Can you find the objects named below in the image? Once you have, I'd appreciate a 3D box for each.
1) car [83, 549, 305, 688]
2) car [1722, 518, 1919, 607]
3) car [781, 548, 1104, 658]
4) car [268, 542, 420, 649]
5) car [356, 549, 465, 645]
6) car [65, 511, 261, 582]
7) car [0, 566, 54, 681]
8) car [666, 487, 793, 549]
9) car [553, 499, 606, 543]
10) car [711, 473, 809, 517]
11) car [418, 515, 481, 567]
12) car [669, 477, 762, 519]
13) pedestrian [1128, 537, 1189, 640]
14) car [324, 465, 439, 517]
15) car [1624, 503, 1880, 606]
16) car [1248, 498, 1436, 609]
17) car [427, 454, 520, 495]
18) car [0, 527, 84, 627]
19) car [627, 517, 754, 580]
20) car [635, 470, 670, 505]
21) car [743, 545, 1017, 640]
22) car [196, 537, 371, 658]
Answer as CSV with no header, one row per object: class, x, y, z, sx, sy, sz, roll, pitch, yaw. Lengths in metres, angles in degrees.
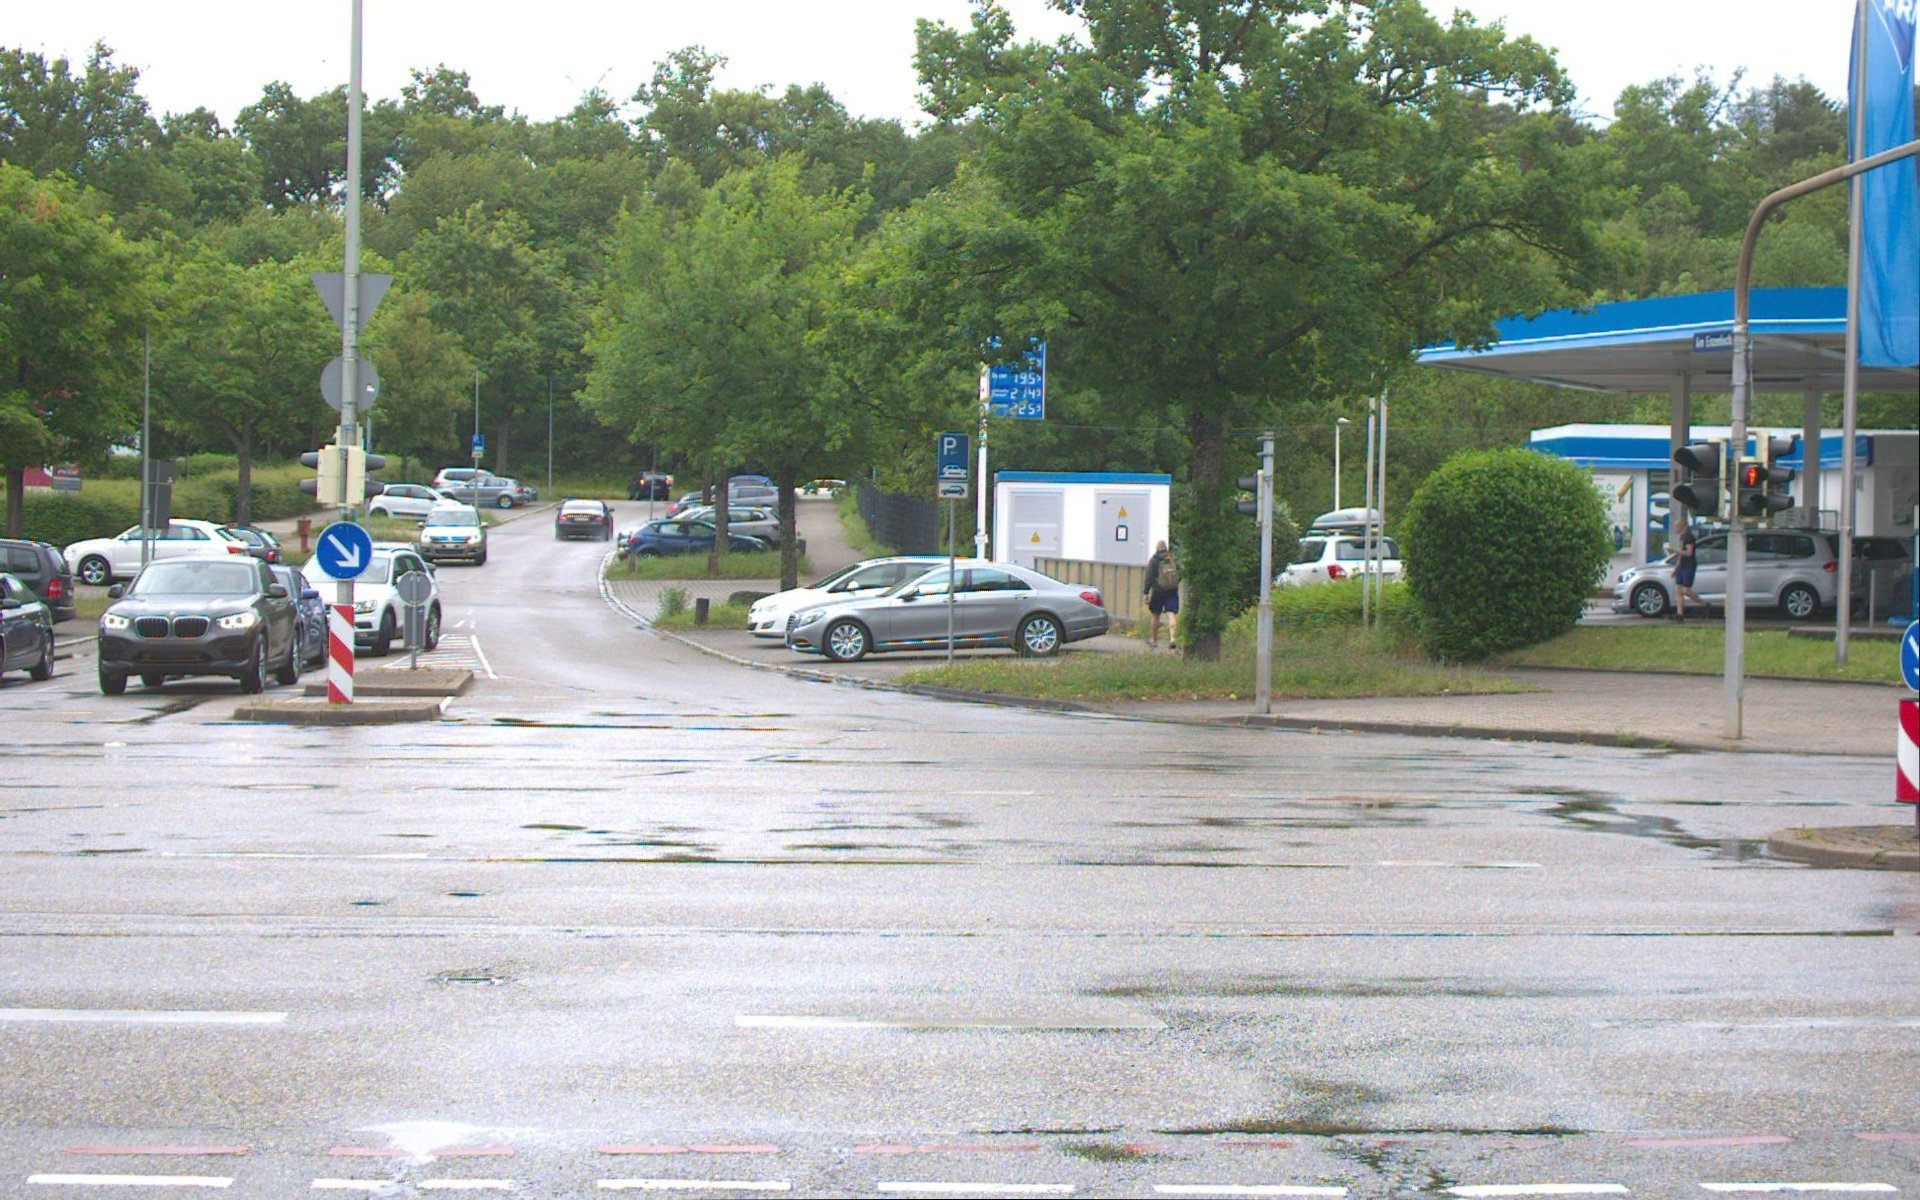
car,-9.080,0.195,41.097,1.895,1.548,4.593,1,0,-4
car,17.155,-0.735,67.437,3.993,1.722,1.792,1,0,27
car,-0.310,0.033,54.450,4.885,1.543,2.001,-1,3,-7
car,-9.587,-0.102,53.768,1.895,1.547,4.001,1,1,-4
car,-10.421,-0.080,65.357,1.596,1.691,3.540,1,1,-2
car,-18.781,-1.255,81.147,4.271,1.604,1.685,1,0,-3
car,-12.590,0.265,42.811,1.782,1.399,4.001,1,0,-4
car,-6.866,-2.425,102.351,3.697,1.744,1.697,1,0,-5
car,-13.353,-2.757,120.583,1.807,1.477,3.752,1,0,-6
car,-8.287,-4.354,142.282,3.986,1.733,1.811,1,0,-6
car,-14.643,-1.677,98.672,1.697,1.451,3.674,0,0,-7
car,-10.650,-4.436,149.706,3.986,1.733,1.811,1,0,-6
pedestrian,3.208,-0.183,55.639,0.808,1.656,0.887,0,0,-8
car,-20.867,-3.924,124.106,3.986,1.788,1.857,0,0,-7
car,14.495,-0.835,62.964,4.122,1.801,1.942,1,0,33
car,6.445,-0.778,58.371,1.808,1.791,3.701,1,0,-17
car,-21.875,-5.638,154.617,3.986,1.788,1.856,0,0,-2
car,-17.275,-0.412,59.967,3.648,1.719,1.685,1,0,-7
car,-7.508,-1.423,95.599,3.459,1.649,1.616,1,0,-5
car,-16.219,-5.907,181.477,1.804,1.733,4.001,1,0,-5
car,-1.425,-0.135,59.735,4.571,1.583,1.930,1,0,-7
car,-9.575,-0.036,48.940,1.795,1.627,4.552,0,0,-3
